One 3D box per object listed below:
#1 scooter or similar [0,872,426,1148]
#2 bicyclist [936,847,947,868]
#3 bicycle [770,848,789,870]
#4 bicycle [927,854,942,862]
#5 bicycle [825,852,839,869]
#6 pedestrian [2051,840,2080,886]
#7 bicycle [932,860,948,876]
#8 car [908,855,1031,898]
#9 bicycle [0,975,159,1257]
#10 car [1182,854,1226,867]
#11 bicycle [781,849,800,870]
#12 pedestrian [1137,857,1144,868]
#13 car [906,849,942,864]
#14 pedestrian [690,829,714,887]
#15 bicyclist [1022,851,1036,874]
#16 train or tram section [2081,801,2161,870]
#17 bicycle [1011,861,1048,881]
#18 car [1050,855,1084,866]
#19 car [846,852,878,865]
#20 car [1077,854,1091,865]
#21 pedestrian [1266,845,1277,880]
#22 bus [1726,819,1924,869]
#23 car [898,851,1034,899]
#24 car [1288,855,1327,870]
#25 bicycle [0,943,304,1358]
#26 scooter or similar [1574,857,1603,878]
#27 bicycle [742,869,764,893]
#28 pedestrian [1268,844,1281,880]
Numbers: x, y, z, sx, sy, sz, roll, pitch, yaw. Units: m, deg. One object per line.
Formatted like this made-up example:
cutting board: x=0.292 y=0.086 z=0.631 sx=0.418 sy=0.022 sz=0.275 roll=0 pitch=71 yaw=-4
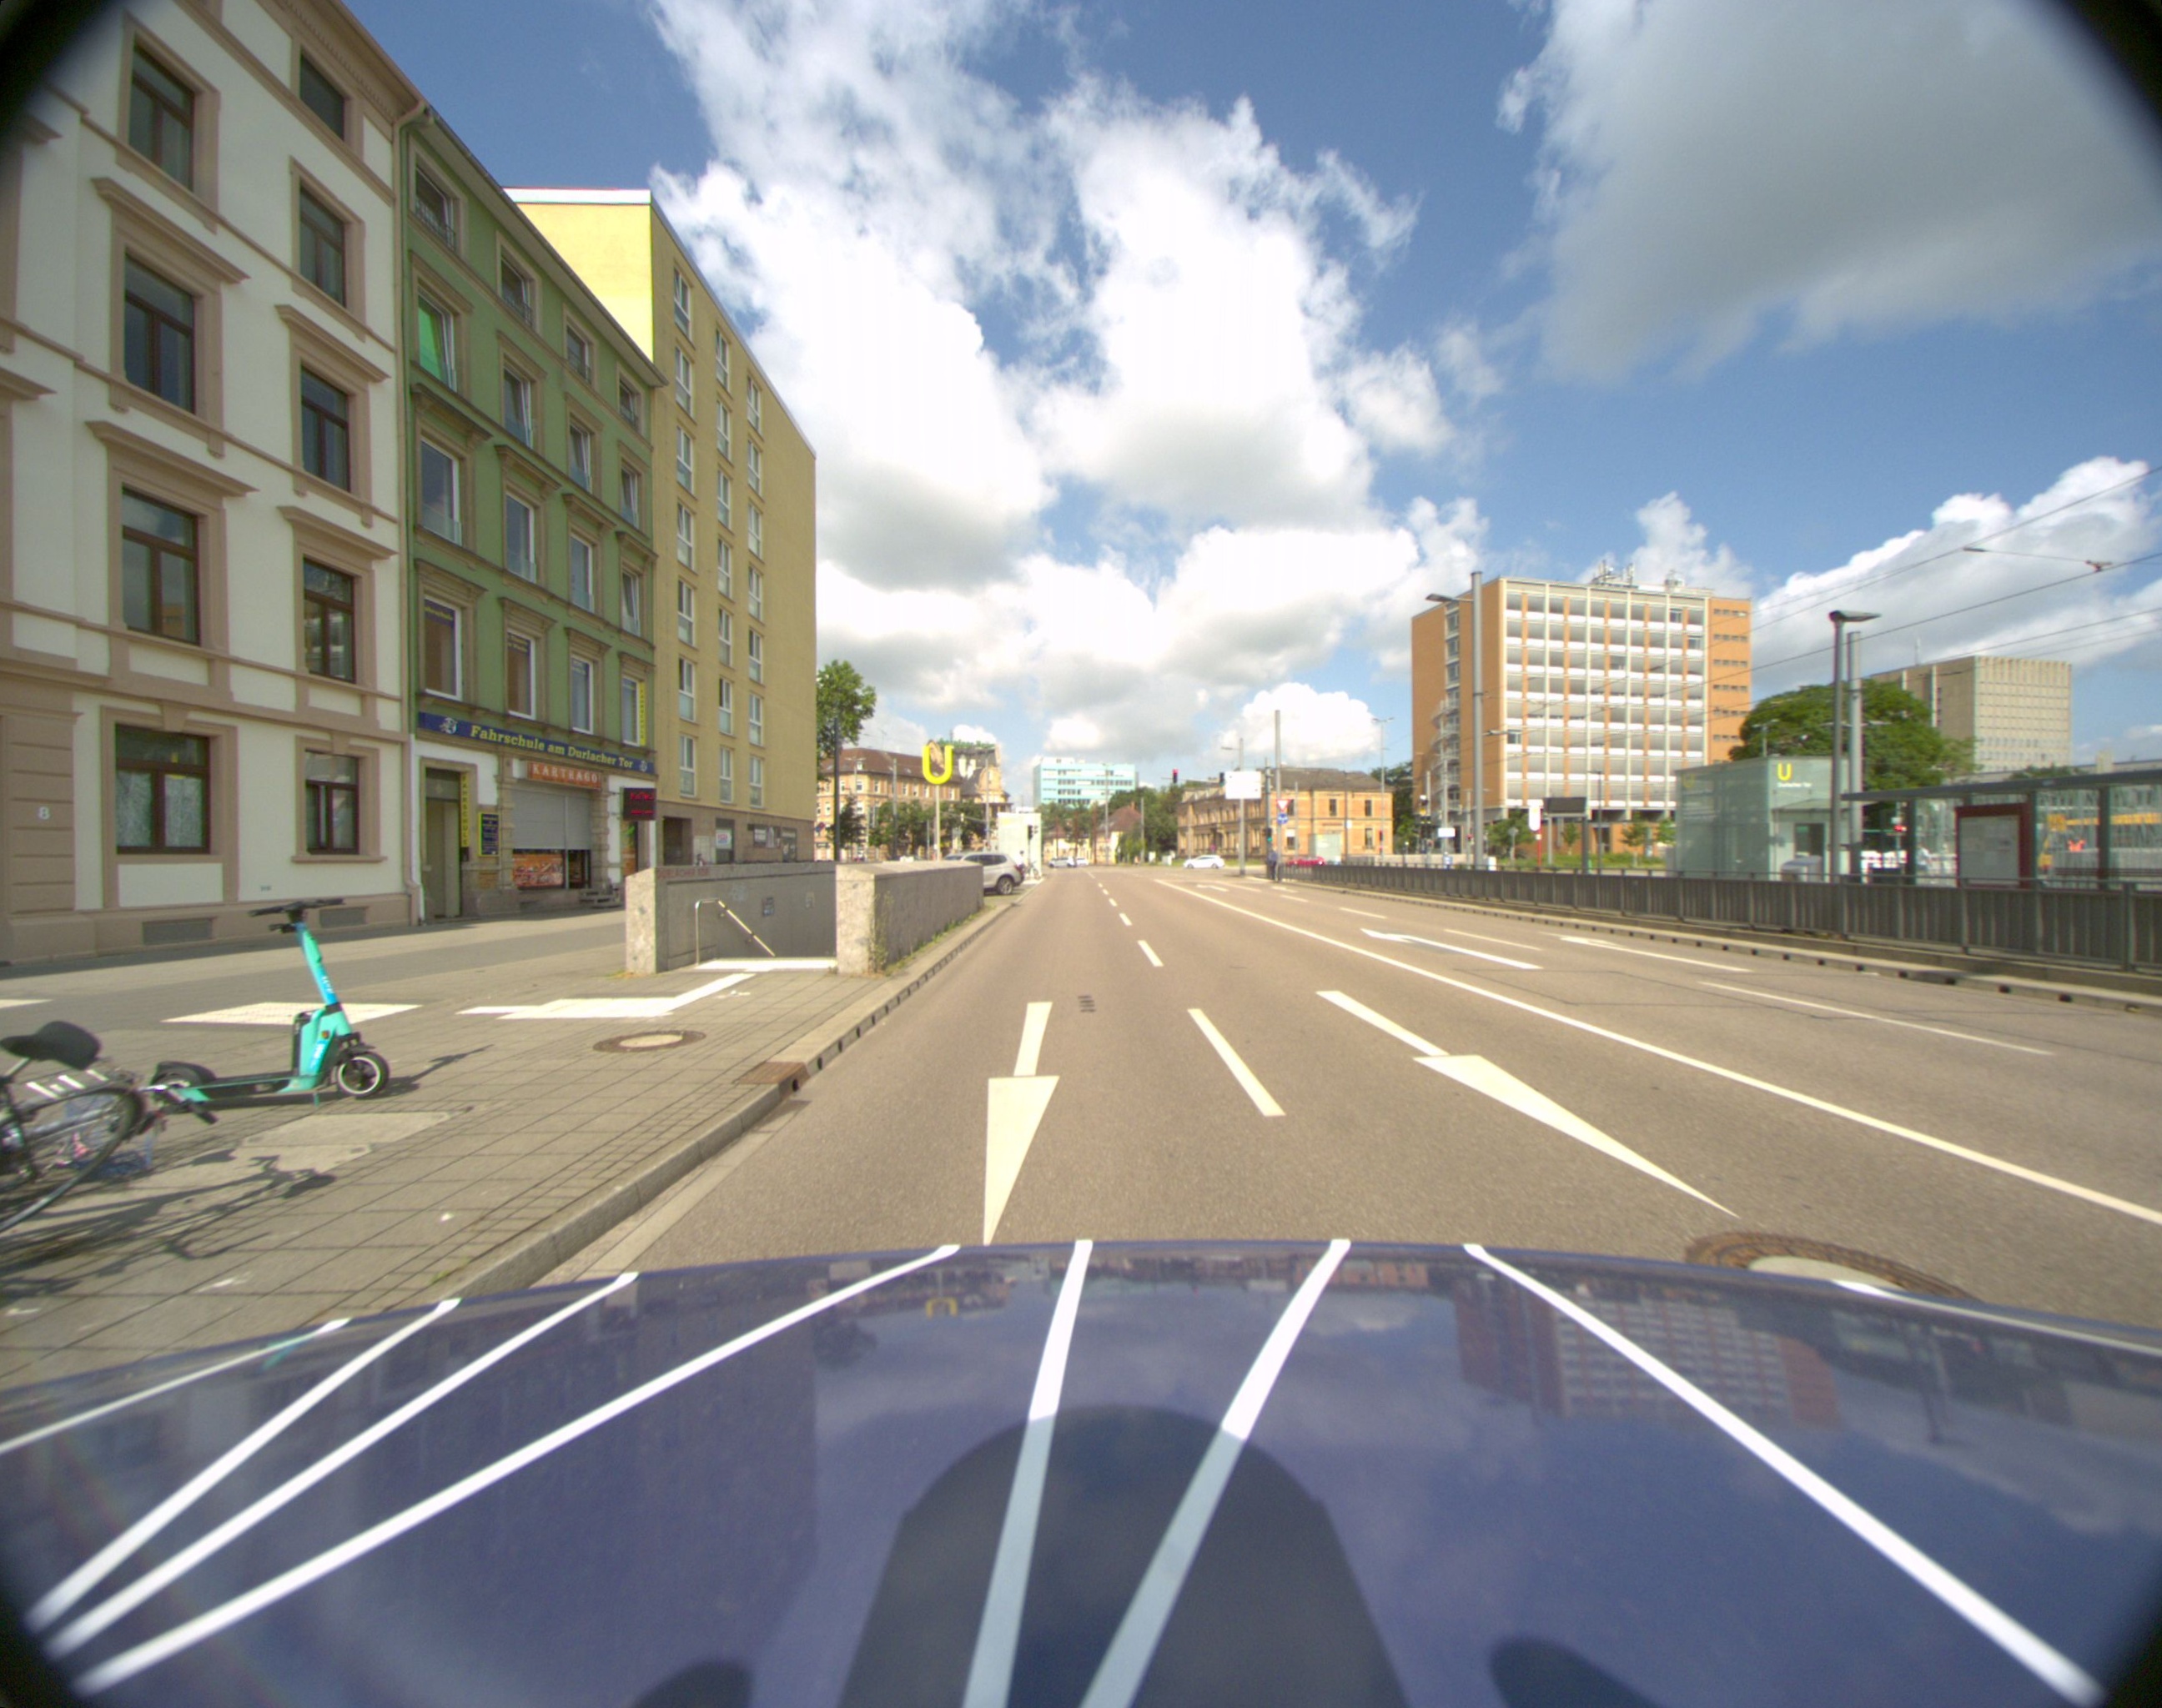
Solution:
scooter or similar: x=-5.461 y=0.895 z=4.704 sx=2.329 sy=1.536 sz=0.698 roll=-1 pitch=-2 yaw=5
bicyclist: x=-9.951 y=0.241 z=54.234 sx=0.655 sy=1.429 sz=0.743 roll=0 pitch=1 yaw=0
bicycle: x=-12.880 y=0.210 z=32.488 sx=0.293 sy=0.917 sz=1.464 roll=-1 pitch=-1 yaw=-3
bicycle: x=-23.531 y=0.640 z=121.912 sx=2.677 sy=1.159 sz=0.763 roll=0 pitch=1 yaw=33
bicycle: x=-12.749 y=0.322 z=38.920 sx=0.293 sy=0.878 sz=1.463 roll=0 pitch=1 yaw=-3
pedestrian: x=38.316 y=0.353 z=29.568 sx=0.561 sy=1.783 sz=0.722 roll=0 pitch=1 yaw=42
bicycle: x=-9.956 y=0.995 z=53.765 sx=0.663 sy=1.114 sz=2.332 roll=0 pitch=0 yaw=0
car: x=-4.561 y=0.913 z=31.496 sx=4.608 sy=1.451 sz=1.934 roll=-4 pitch=0 yaw=-40
bicycle: x=-5.301 y=1.119 z=3.369 sx=1.929 sy=1.096 sz=0.441 roll=-1 pitch=-1 yaw=2
car: x=13.941 y=0.738 z=85.948 sx=4.665 sy=1.420 sz=1.766 roll=-1 pitch=-2 yaw=17
bicycle: x=-13.073 y=0.245 z=34.199 sx=0.293 sy=0.917 sz=1.464 roll=0 pitch=0 yaw=0
pedestrian: x=8.020 y=1.113 z=102.544 sx=0.543 sy=1.507 sz=0.744 roll=0 pitch=0 yaw=40
car: x=-18.307 y=0.293 z=88.551 sx=3.726 sy=1.563 sz=2.006 roll=-2 pitch=-6 yaw=37
pedestrian: x=-13.208 y=0.153 z=26.498 sx=0.603 sy=2.001 sz=0.460 roll=-1 pitch=-1 yaw=0
bicyclist: x=-2.977 y=0.497 z=43.583 sx=0.783 sy=1.328 sz=0.395 roll=-1 pitch=-1 yaw=-3
train or tram section: x=57.920 y=-1.034 z=37.067 sx=10.579 sy=3.459 sz=3.332 roll=-2 pitch=-3 yaw=44
bicycle: x=-2.960 y=0.962 z=43.560 sx=2.099 sy=1.099 sz=0.544 roll=-1 pitch=-2 yaw=-2
car: x=-1.810 y=0.859 z=96.904 sx=4.070 sy=1.376 sz=1.591 roll=-1 pitch=-2 yaw=18
car: x=-25.685 y=0.519 z=89.094 sx=3.646 sy=1.461 sz=1.695 roll=-2 pitch=-2 yaw=37
car: x=0.361 y=0.856 z=114.837 sx=1.956 sy=1.586 sz=4.507 roll=-1 pitch=-2 yaw=-2
pedestrian: x=10.760 y=0.473 z=42.936 sx=0.427 sy=2.002 sz=0.578 roll=0 pitch=0 yaw=-12
bus: x=55.477 y=-0.737 z=56.819 sx=12.371 sy=3.599 sz=2.915 roll=0 pitch=0 yaw=-3
car: x=-4.189 y=0.709 z=28.171 sx=4.605 sy=1.637 sz=2.056 roll=-1 pitch=1 yaw=-43
car: x=24.628 y=0.926 z=82.691 sx=4.057 sy=1.458 sz=1.649 roll=-1 pitch=-2 yaw=14
bicycle: x=-3.683 y=0.994 z=2.522 sx=0.441 sy=1.230 sz=1.930 roll=0 pitch=-2 yaw=-8
scooter or similar: x=28.881 y=0.746 z=43.230 sx=0.813 sy=1.160 sz=1.167 roll=0 pitch=0 yaw=-10
bicycle: x=-12.839 y=1.057 z=29.793 sx=0.293 sy=0.917 sz=1.464 roll=-1 pitch=-1 yaw=-3
pedestrian: x=10.778 y=0.461 z=42.267 sx=0.503 sy=2.002 sz=0.515 roll=0 pitch=1 yaw=-12
